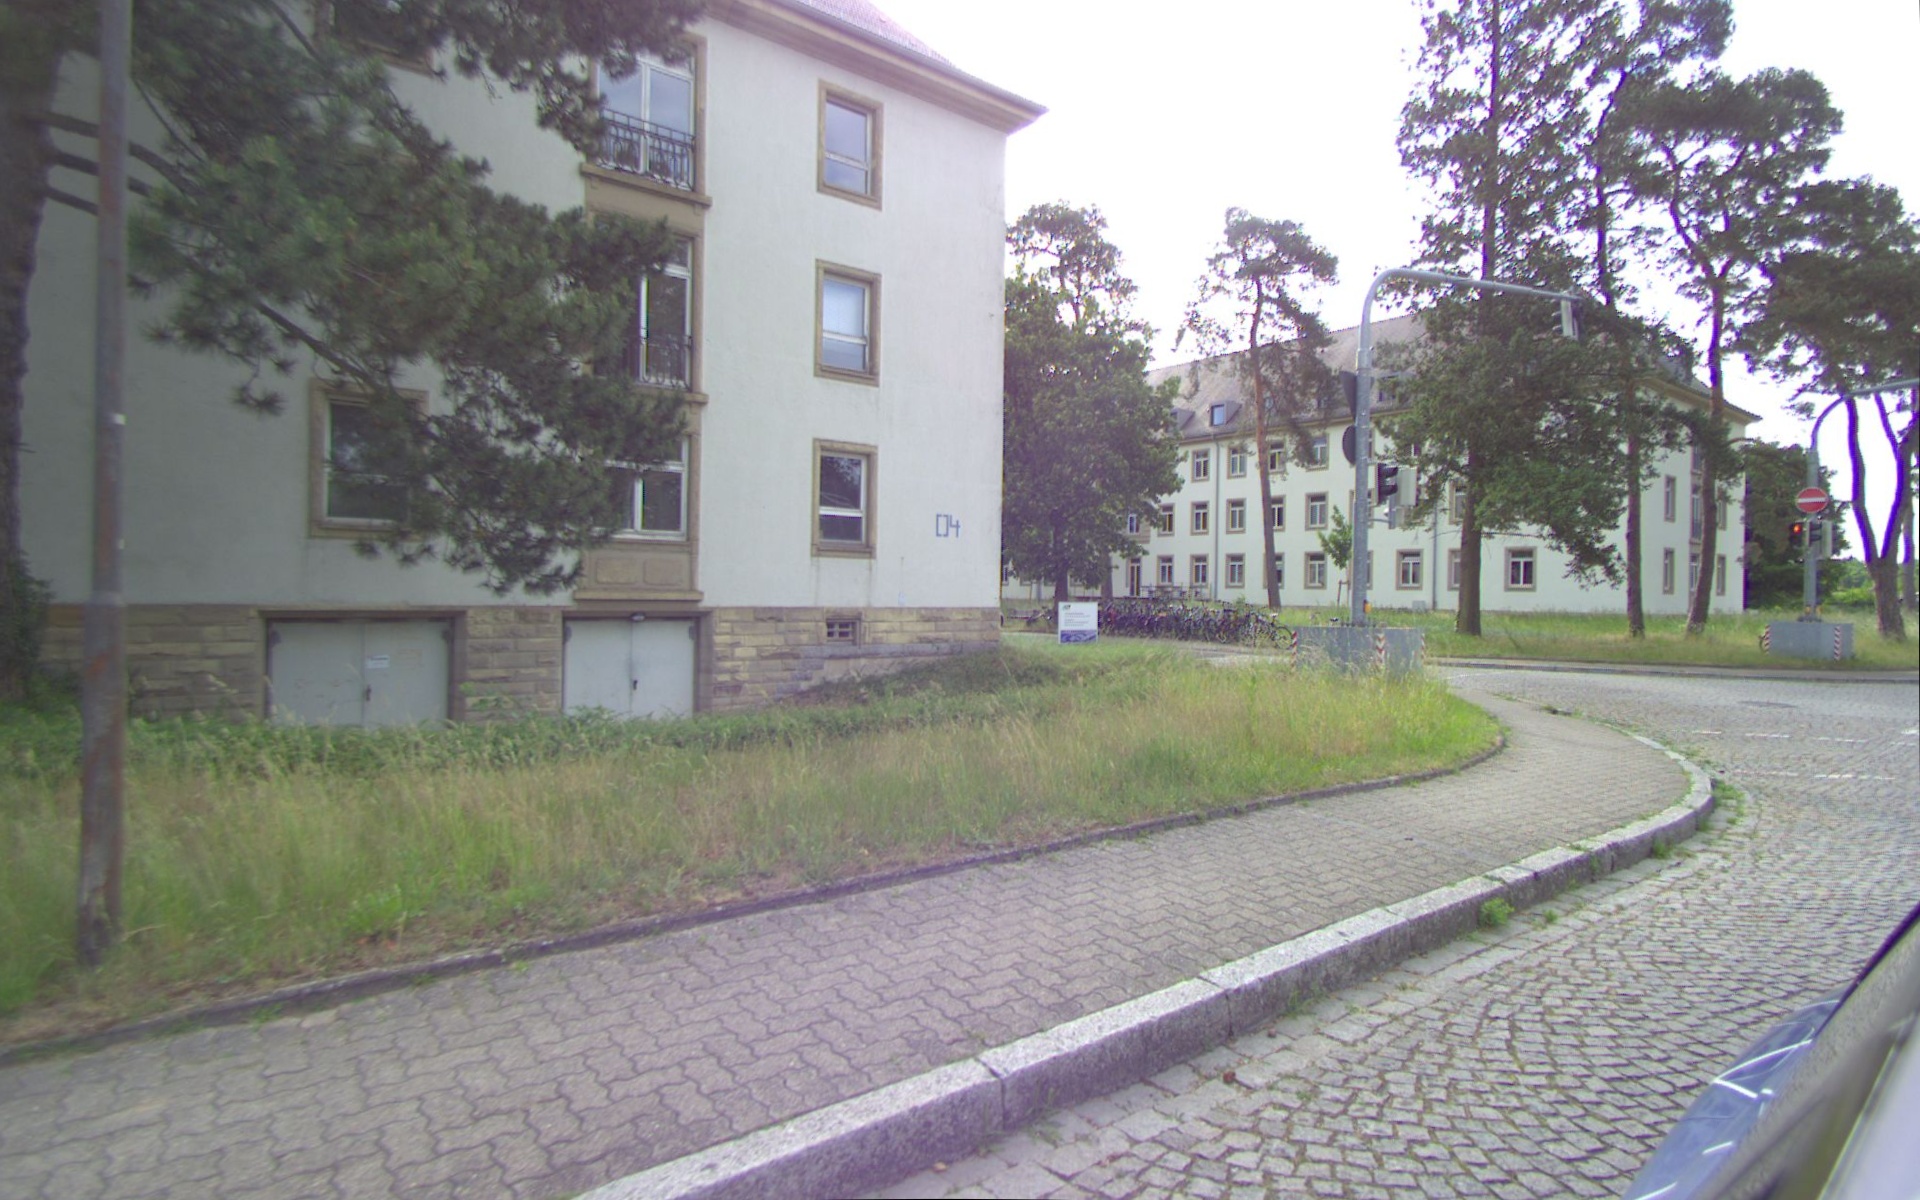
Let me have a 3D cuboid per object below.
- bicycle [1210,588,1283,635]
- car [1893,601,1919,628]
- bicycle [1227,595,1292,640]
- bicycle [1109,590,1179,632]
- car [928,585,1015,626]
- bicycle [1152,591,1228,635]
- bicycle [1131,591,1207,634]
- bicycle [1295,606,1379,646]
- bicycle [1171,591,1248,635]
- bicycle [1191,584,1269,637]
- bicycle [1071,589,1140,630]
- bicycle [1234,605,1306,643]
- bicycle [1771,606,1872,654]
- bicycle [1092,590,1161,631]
[{"bbox_3d":[8.937,0.352,31.509,2.580,1.384,0.873,0,0,-39],"label":"bicycle"},{"bbox_3d":[56.792,0.850,59.838,3.625,1.553,1.772,0,0,-37],"label":"car"},{"bbox_3d":[9.160,0.530,30.909,2.081,1.323,0.873,0,0,-39],"label":"bicycle"},{"bbox_3d":[6.360,0.354,34.811,2.530,1.389,0.950,0,0,-39],"label":"bicycle"},{"bbox_3d":[0.498,0.235,42.653,3.176,1.641,1.936,2,-1,-39],"label":"car"},{"bbox_3d":[7.628,0.403,33.447,2.761,1.389,0.950,0,0,-39],"label":"bicycle"},{"bbox_3d":[7.060,0.395,34.137,2.761,1.389,0.950,0,0,-39],"label":"bicycle"},{"bbox_3d":[10.202,0.679,27.438,0.887,1.009,1.977,1,0,-38],"label":"bicycle"},{"bbox_3d":[8.207,0.416,33.223,2.761,1.389,0.950,0,0,-39],"label":"bicycle"},{"bbox_3d":[8.676,0.324,32.408,2.761,1.603,0.950,0,0,-39],"label":"bicycle"},{"bbox_3d":[5.199,0.336,36.031,2.530,1.389,0.950,0,0,-39],"label":"bicycle"},{"bbox_3d":[8.868,0.660,29.049,0.715,1.009,1.979,1,0,-33],"label":"bicycle"},{"bbox_3d":[21.326,0.724,25.080,0.635,1.075,1.831,-4,3,-40],"label":"bicycle"},{"bbox_3d":[5.837,0.347,35.467,2.530,1.389,0.950,0,0,-39],"label":"bicycle"}]
